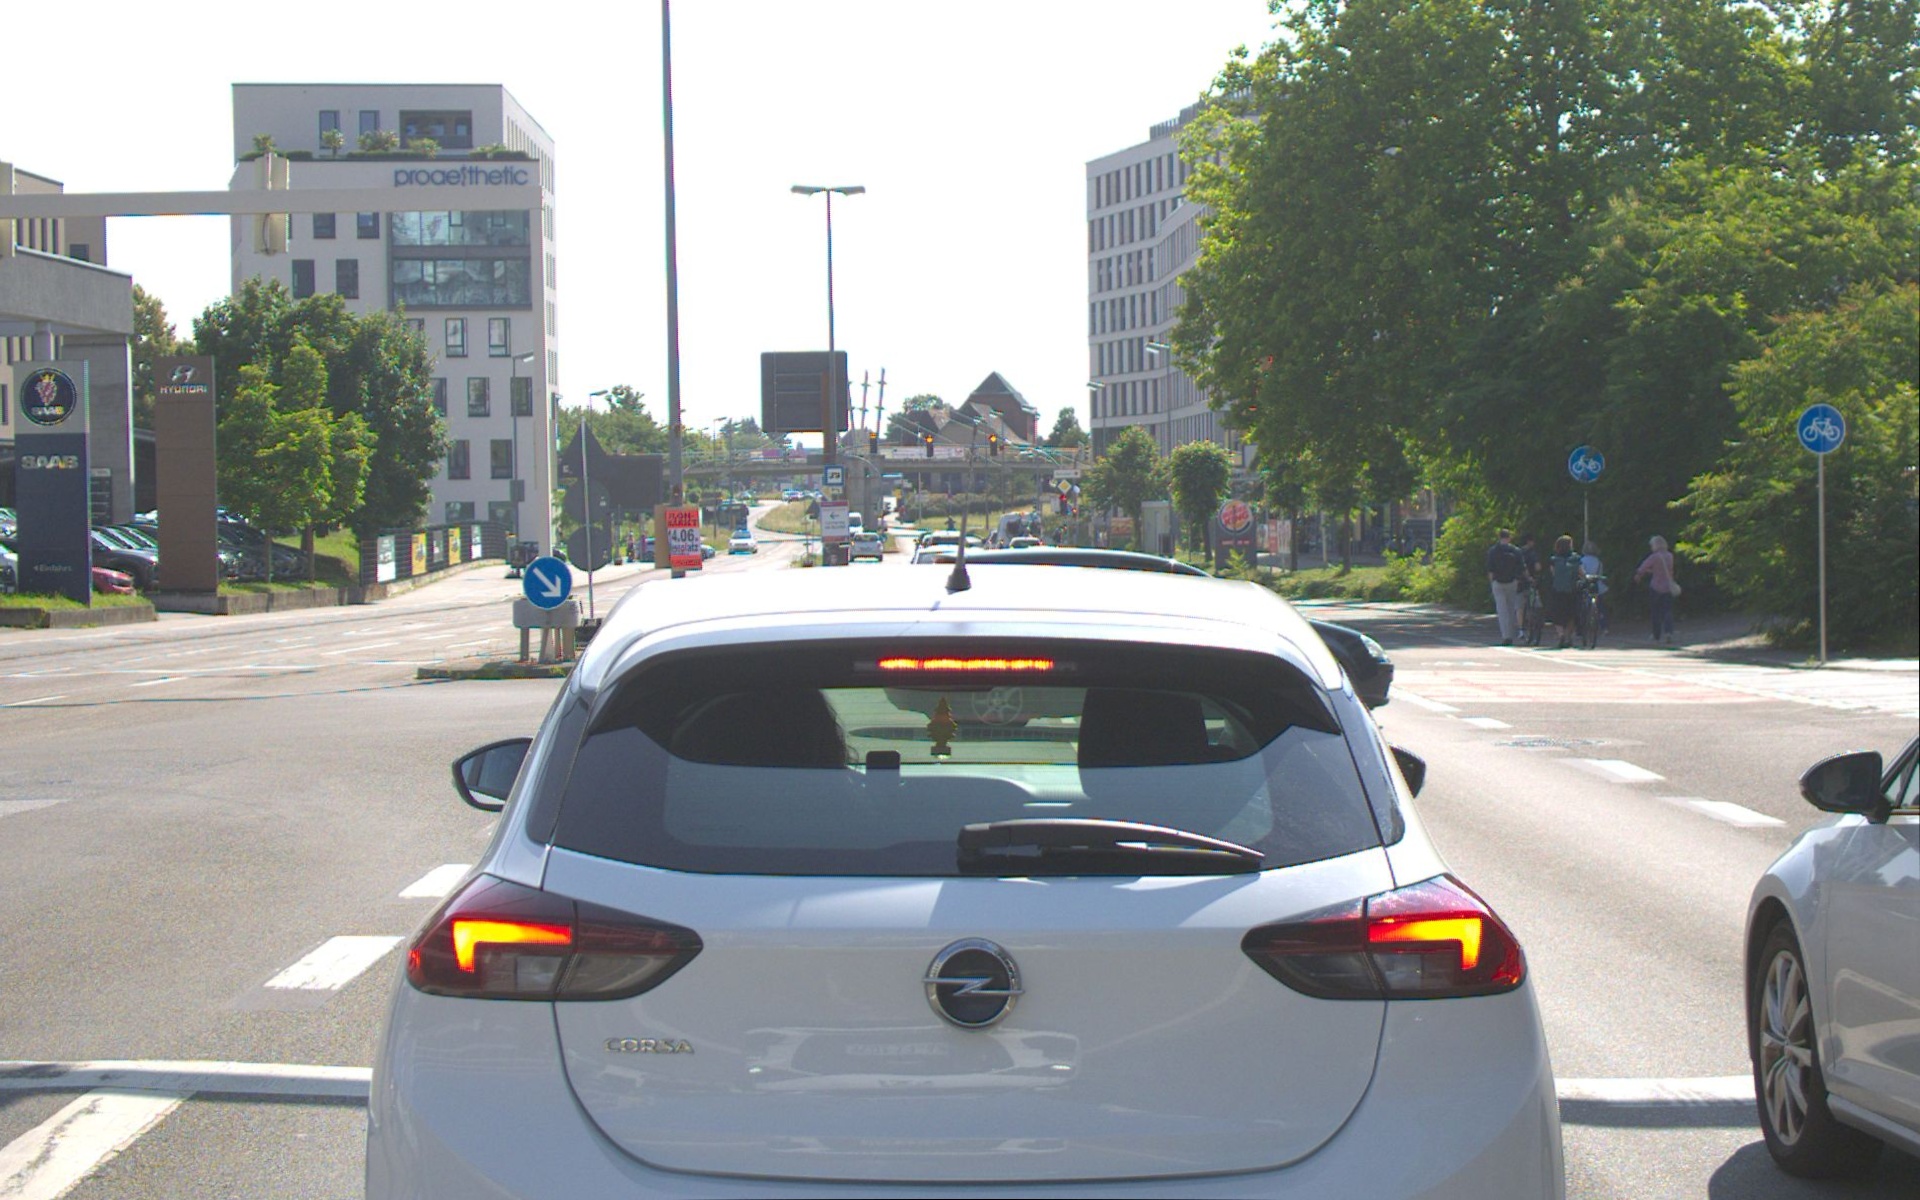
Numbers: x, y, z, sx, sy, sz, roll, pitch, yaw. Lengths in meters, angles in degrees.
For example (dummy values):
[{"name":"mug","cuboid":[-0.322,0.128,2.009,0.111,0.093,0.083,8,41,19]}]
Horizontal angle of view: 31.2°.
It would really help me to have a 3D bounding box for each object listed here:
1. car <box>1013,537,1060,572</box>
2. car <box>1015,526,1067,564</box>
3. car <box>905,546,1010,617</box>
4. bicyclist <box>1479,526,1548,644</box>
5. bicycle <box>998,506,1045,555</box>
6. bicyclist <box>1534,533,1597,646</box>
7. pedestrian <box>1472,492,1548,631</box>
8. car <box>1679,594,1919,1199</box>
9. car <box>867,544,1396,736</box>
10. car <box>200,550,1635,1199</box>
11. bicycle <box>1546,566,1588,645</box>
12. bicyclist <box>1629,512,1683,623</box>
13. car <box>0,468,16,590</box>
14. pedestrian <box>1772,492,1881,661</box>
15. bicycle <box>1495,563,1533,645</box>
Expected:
[{"name":"car","cuboid":[3.154,-1.888,142.349,1.806,1.381,4.000,1,0,-1]},{"name":"car","cuboid":[3.064,-2.072,130.374,1.806,1.381,4.000,1,0,-1]},{"name":"car","cuboid":[-0.045,-0.370,67.545,1.993,1.327,4.000,1,0,0]},{"name":"bicyclist","cuboid":[8.384,-0.231,52.109,0.879,1.766,0.864,-1,1,0]},{"name":"bicycle","cuboid":[2.761,-3.127,155.438,1.993,2.150,4.000,-1,1,-1]},{"name":"bicyclist","cuboid":[8.913,-0.164,50.656,0.688,1.637,0.777,-1,1,-9]},{"name":"pedestrian","cuboid":[8.924,-0.628,55.813,1.027,2.231,1.039,-1,1,-1]},{"name":"car","cuboid":[2.854,0.711,6.820,1.807,1.424,4.001,-1,1,-3]},{"name":"car","cuboid":[1.343,0.292,28.057,3.986,1.437,2.001,-1,1,-8]},{"name":"car","cuboid":[-0.075,0.670,6.289,1.779,1.489,4.000,-1,1,-1]},{"name":"bicycle","cuboid":[8.939,0.076,50.654,0.373,1.143,1.034,1,0,-3]},{"name":"bicyclist","cuboid":[10.414,-0.486,51.434,0.652,1.631,0.659,1,0,0]},{"name":"car","cuboid":[-22.552,-1.479,73.029,4.357,2.592,2.000,-1,1,5]},{"name":"pedestrian","cuboid":[10.475,-0.288,41.594,1.027,2.007,1.039,-1,1,-1]},{"name":"bicycle","cuboid":[8.395,0.053,52.113,0.372,1.212,1.154,1,1,-1]}]
